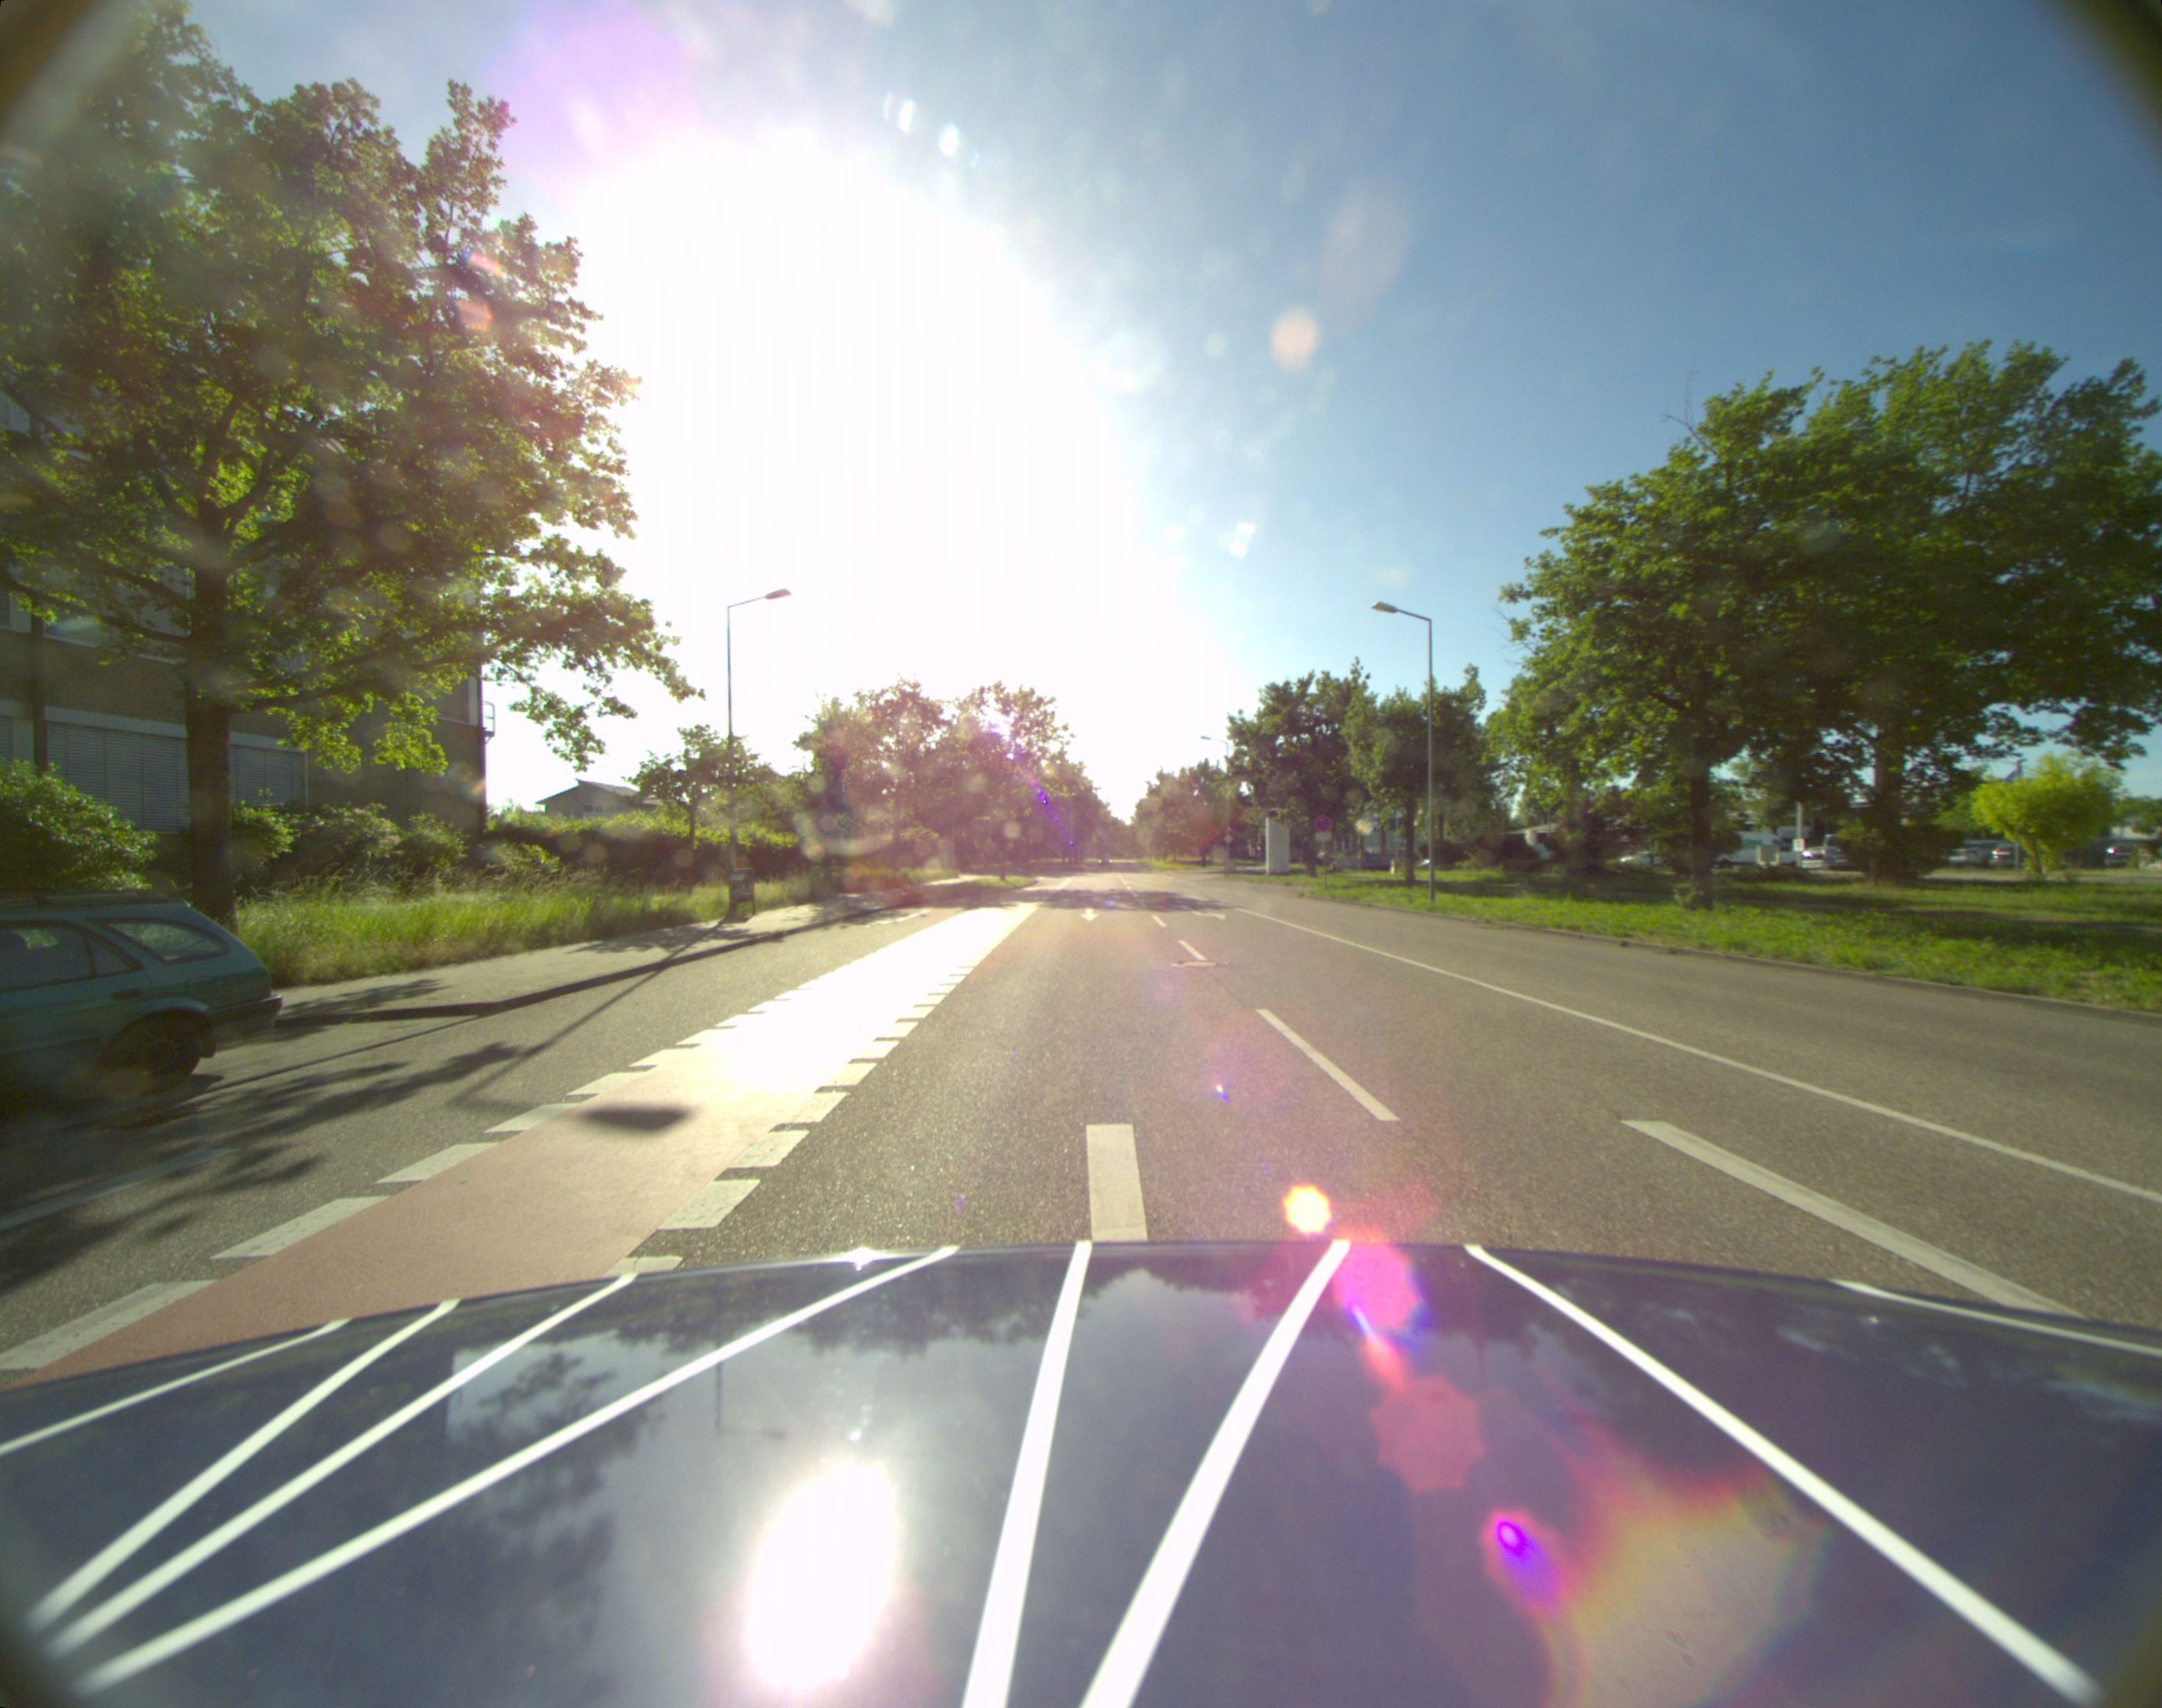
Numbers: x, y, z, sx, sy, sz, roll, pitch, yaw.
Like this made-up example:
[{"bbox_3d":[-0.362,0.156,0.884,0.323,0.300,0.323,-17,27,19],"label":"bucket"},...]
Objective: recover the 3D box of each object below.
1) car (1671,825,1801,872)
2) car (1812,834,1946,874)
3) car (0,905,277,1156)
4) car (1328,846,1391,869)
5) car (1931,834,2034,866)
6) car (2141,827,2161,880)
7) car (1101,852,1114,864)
[{"bbox_3d":[39.906,-0.349,46.387,6.023,2.540,2.409,-2,1,-4],"label":"car"},{"bbox_3d":[40.066,-0.016,38.210,4.642,1.771,1.990,-2,1,0],"label":"car"},{"bbox_3d":[-7.522,1.131,4.213,1.706,1.460,4.141,-1,-1,0],"label":"car"},{"bbox_3d":[23.936,0.289,65.361,4.637,1.822,2.000,-2,1,0],"label":"car"},{"bbox_3d":[52.094,-0.221,43.948,3.860,1.661,1.762,-2,1,0],"label":"car"},{"bbox_3d":[33.892,-0.095,22.029,3.817,1.562,1.736,-2,-1,0],"label":"car"},{"bbox_3d":[3.385,0.473,96.432,1.653,1.460,3.941,-1,0,2],"label":"car"}]
